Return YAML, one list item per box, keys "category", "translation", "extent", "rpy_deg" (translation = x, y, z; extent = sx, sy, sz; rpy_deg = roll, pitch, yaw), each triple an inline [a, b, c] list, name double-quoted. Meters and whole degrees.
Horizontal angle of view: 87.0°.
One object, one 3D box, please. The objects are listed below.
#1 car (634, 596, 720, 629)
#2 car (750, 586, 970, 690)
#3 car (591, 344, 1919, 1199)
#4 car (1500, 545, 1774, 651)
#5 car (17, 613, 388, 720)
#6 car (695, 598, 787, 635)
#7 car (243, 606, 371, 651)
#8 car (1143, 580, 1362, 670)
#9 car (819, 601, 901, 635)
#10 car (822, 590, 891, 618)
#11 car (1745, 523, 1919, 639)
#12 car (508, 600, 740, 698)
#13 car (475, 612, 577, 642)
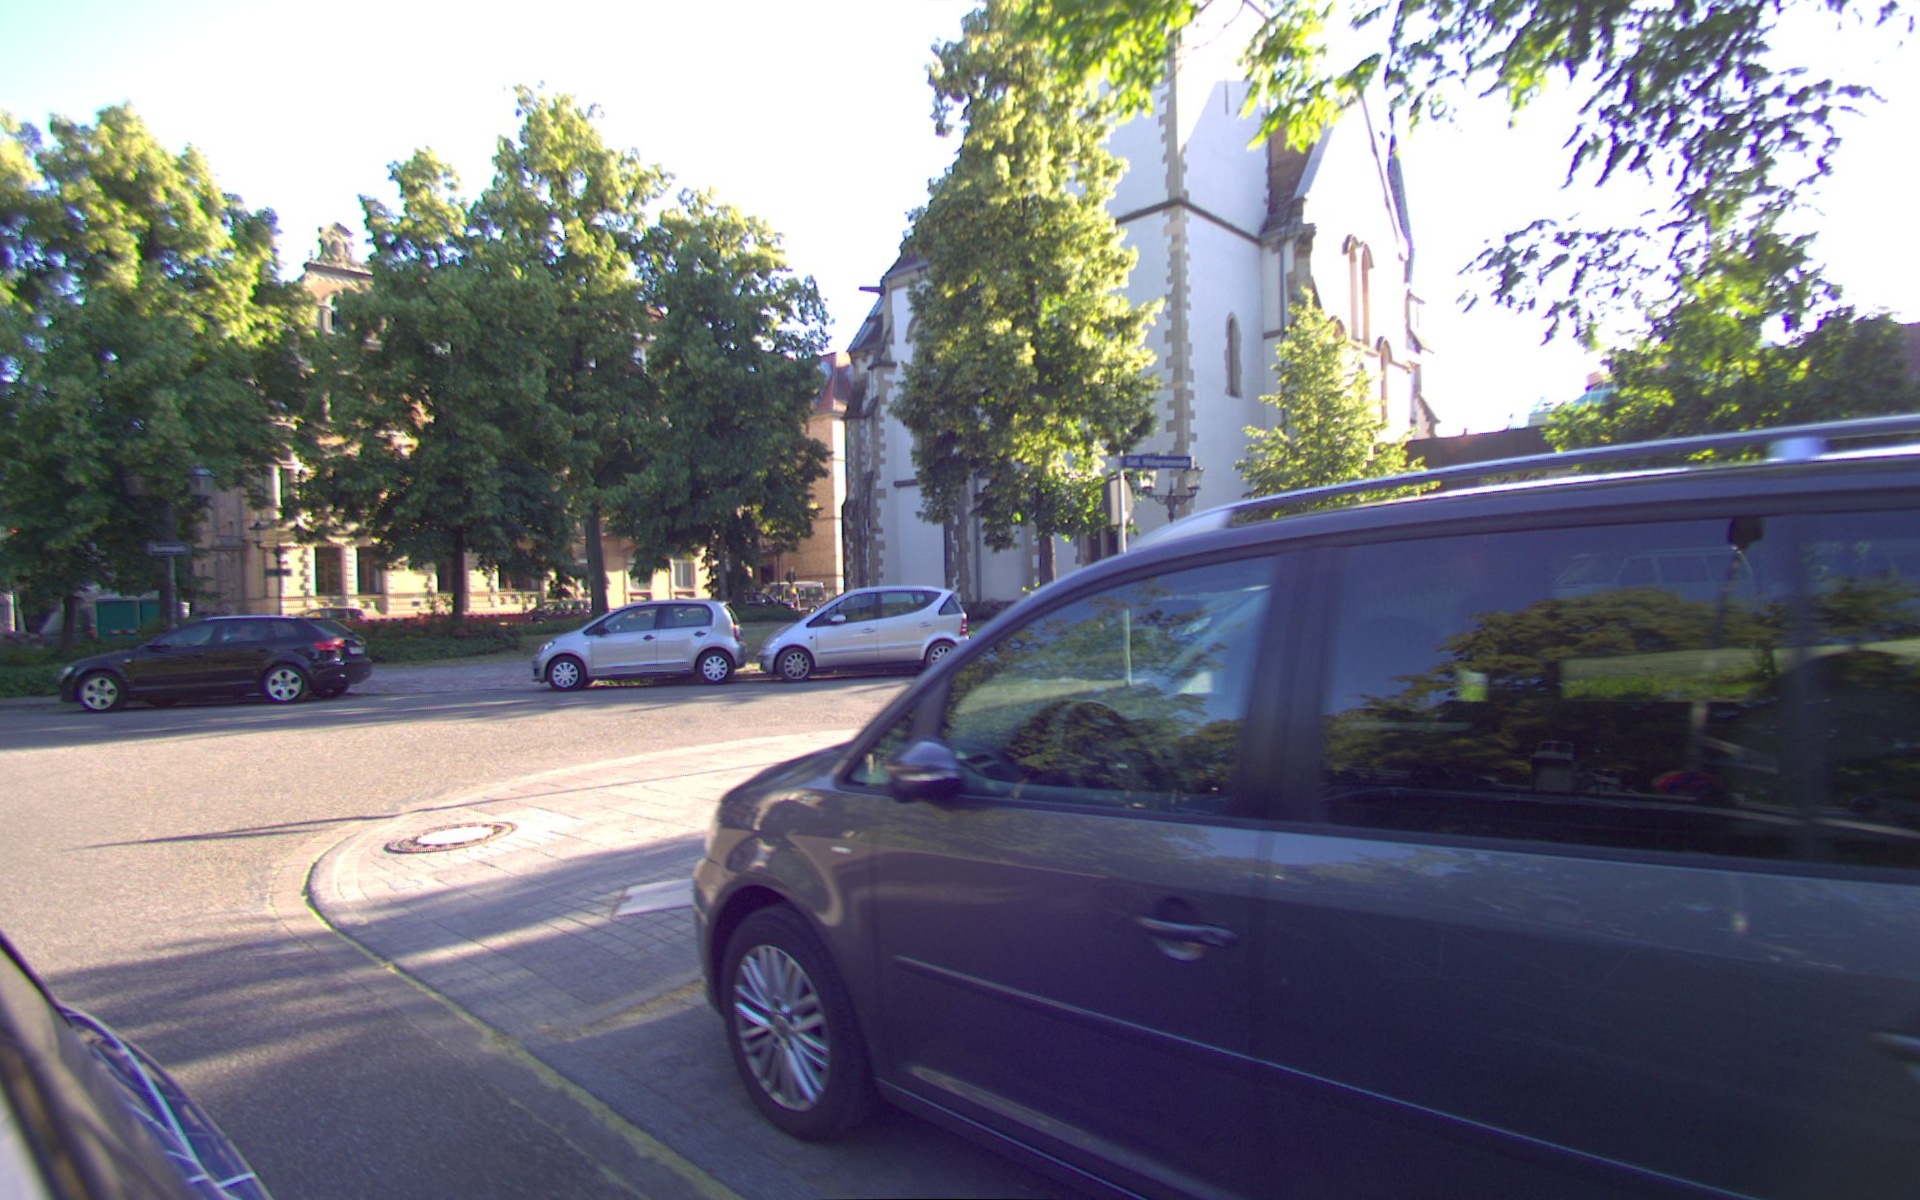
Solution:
- category: "car"
  translation: [-15.741, 0.680, 56.359]
  extent: [2.000, 1.668, 4.161]
  rpy_deg: [-1, 1, 43]
- category: "car"
  translation: [-1.806, 0.612, 17.777]
  extent: [3.636, 1.591, 1.714]
  rpy_deg: [-2, 0, -12]
- category: "car"
  translation: [1.031, 0.535, 2.360]
  extent: [4.322, 1.688, 1.782]
  rpy_deg: [-1, 2, 44]
- category: "car"
  translation: [14.020, -0.065, 21.040]
  extent: [4.761, 1.961, 1.862]
  rpy_deg: [-2, 0, -12]
- category: "car"
  translation: [-11.949, 1.018, 16.274]
  extent: [4.422, 1.426, 1.834]
  rpy_deg: [-2, -2, -10]
- category: "car"
  translation: [-10.847, 0.791, 50.276]
  extent: [1.891, 1.668, 4.162]
  rpy_deg: [-2, 0, 42]
- category: "car"
  translation: [-27.425, 1.153, 42.612]
  extent: [1.912, 1.668, 4.161]
  rpy_deg: [-1, 1, 43]
- category: "car"
  translation: [5.538, 0.439, 19.317]
  extent: [3.636, 1.512, 1.625]
  rpy_deg: [-2, 0, -12]
- category: "car"
  translation: [-5.519, 0.980, 56.032]
  extent: [4.155, 1.668, 1.894]
  rpy_deg: [-2, 0, -41]
- category: "car"
  translation: [-6.646, 0.257, 65.298]
  extent: [2.000, 1.668, 4.161]
  rpy_deg: [-1, 1, 43]
- category: "car"
  translation: [20.441, -0.465, 22.671]
  extent: [5.098, 2.373, 1.863]
  rpy_deg: [-2, 0, -17]
- category: "car"
  translation: [-5.622, 0.803, 17.302]
  extent: [3.547, 1.451, 1.621]
  rpy_deg: [-2, -1, -10]
- category: "car"
  translation: [-21.308, 1.290, 49.769]
  extent: [1.912, 1.287, 4.161]
  rpy_deg: [-1, 1, 43]
